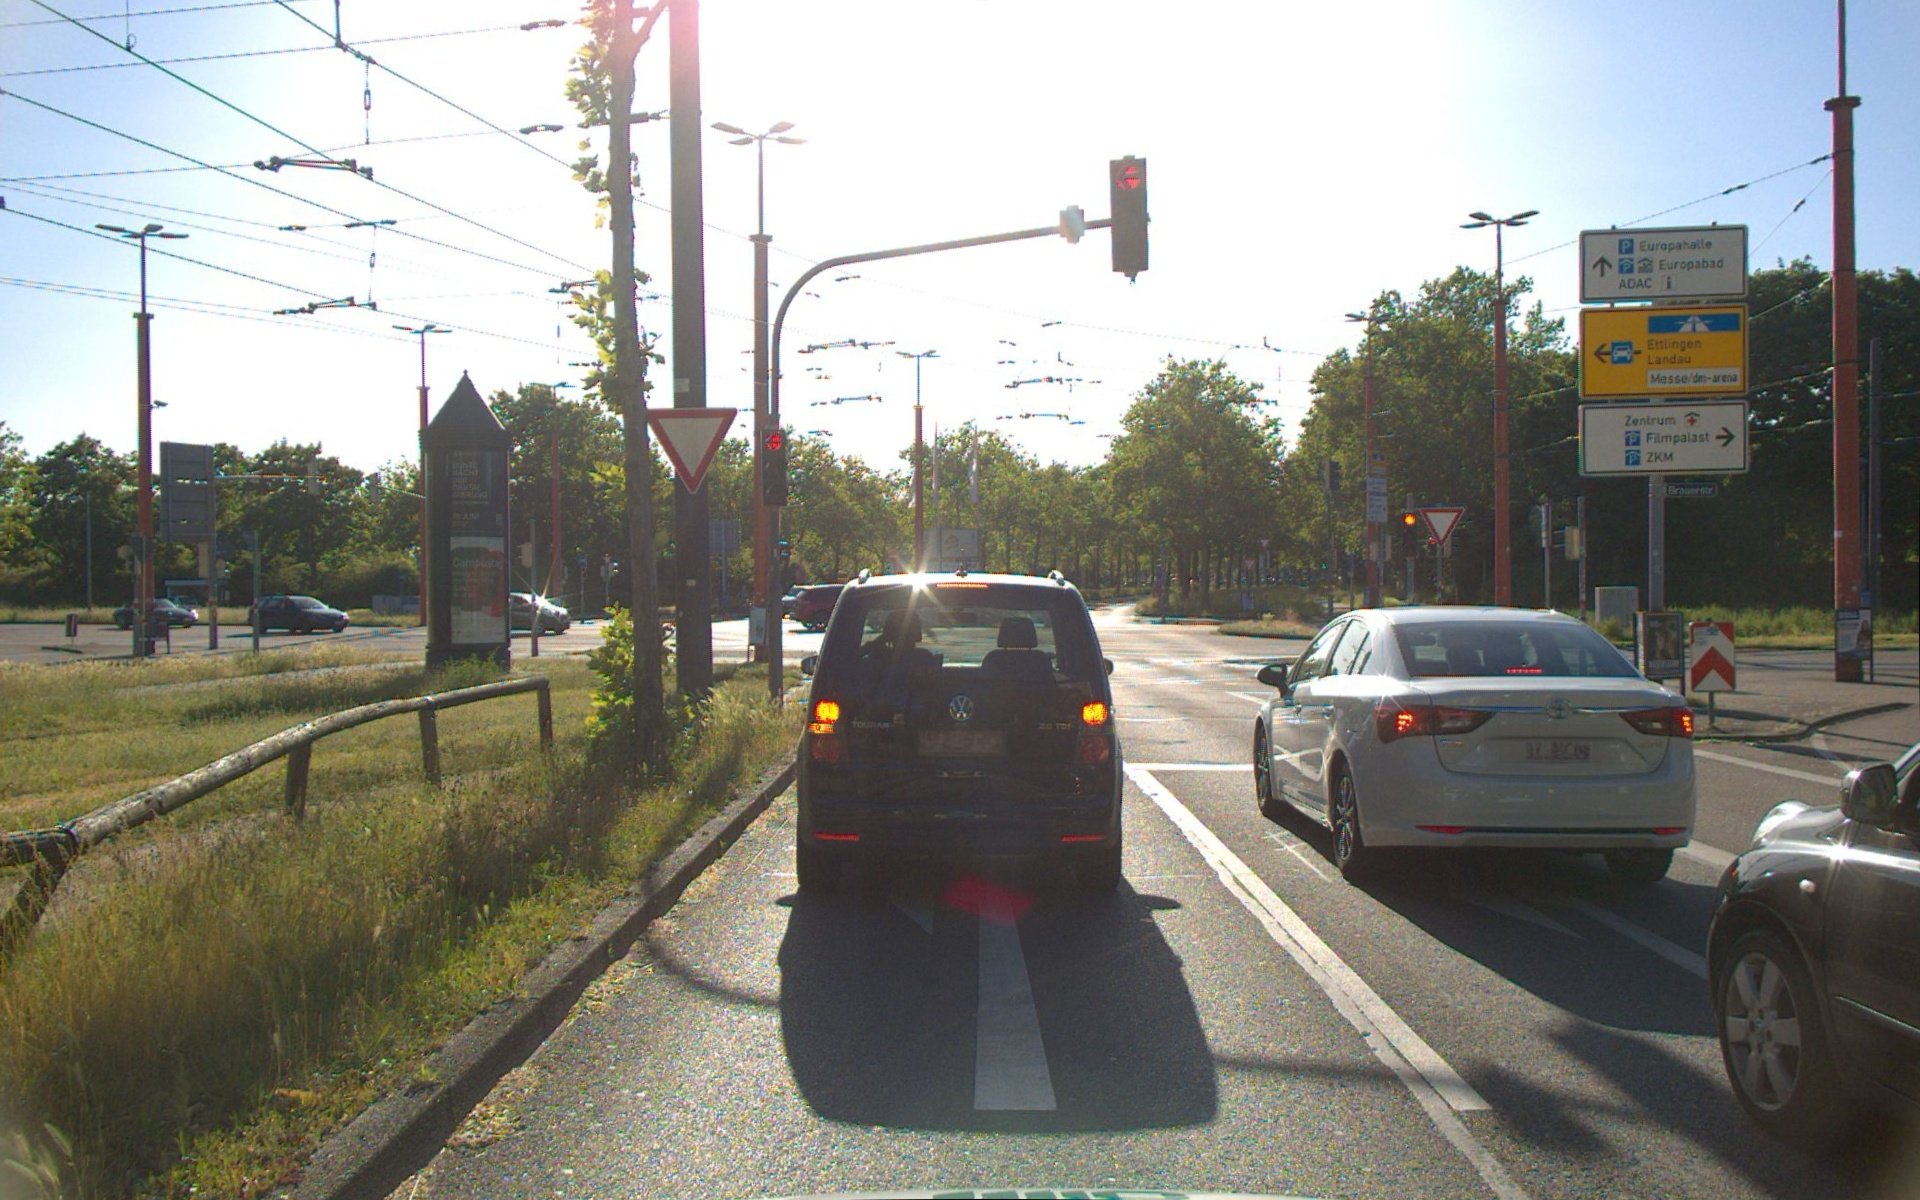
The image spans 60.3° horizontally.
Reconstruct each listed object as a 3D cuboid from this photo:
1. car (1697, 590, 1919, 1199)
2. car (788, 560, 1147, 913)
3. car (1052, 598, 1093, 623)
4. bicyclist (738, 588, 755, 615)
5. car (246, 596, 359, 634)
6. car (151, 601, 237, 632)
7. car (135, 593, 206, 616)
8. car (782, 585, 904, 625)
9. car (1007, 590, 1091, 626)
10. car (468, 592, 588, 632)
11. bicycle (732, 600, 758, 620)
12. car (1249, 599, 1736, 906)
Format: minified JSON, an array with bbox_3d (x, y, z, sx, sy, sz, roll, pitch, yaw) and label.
[{"bbox_3d":[3.128,0.741,3.508,1.525,1.532,3.515,0,0,-1],"label":"car"},{"bbox_3d":[0.007,0.641,9.863,1.702,1.670,3.999,0,0,-1],"label":"car"},{"bbox_3d":[6.875,0.611,100.769,1.867,1.490,4.226,-1,0,12],"label":"car"},{"bbox_3d":[-12.197,0.088,94.439,0.678,1.483,0.875,0,0,17],"label":"bicyclist"},{"bbox_3d":[-26.219,0.587,65.968,4.143,1.489,1.912,0,0,26],"label":"car"},{"bbox_3d":[-33.903,0.713,73.173,3.734,1.333,1.738,0,0,32],"label":"car"},{"bbox_3d":[-47.061,0.282,98.604,3.723,1.333,1.664,0,0,19],"label":"car"},{"bbox_3d":[-4.461,0.180,62.930,4.298,1.489,1.902,0,0,-22],"label":"car"},{"bbox_3d":[3.890,0.329,71.537,1.873,1.489,4.212,0,0,32],"label":"car"},{"bbox_3d":[-16.198,0.442,62.045,3.959,1.489,1.915,0,0,20],"label":"car"},{"bbox_3d":[-12.228,0.563,94.219,0.719,1.109,1.962,0,0,18],"label":"bicycle"},{"bbox_3d":[2.949,0.739,10.107,1.679,1.480,4.144,0,0,0],"label":"car"}]
